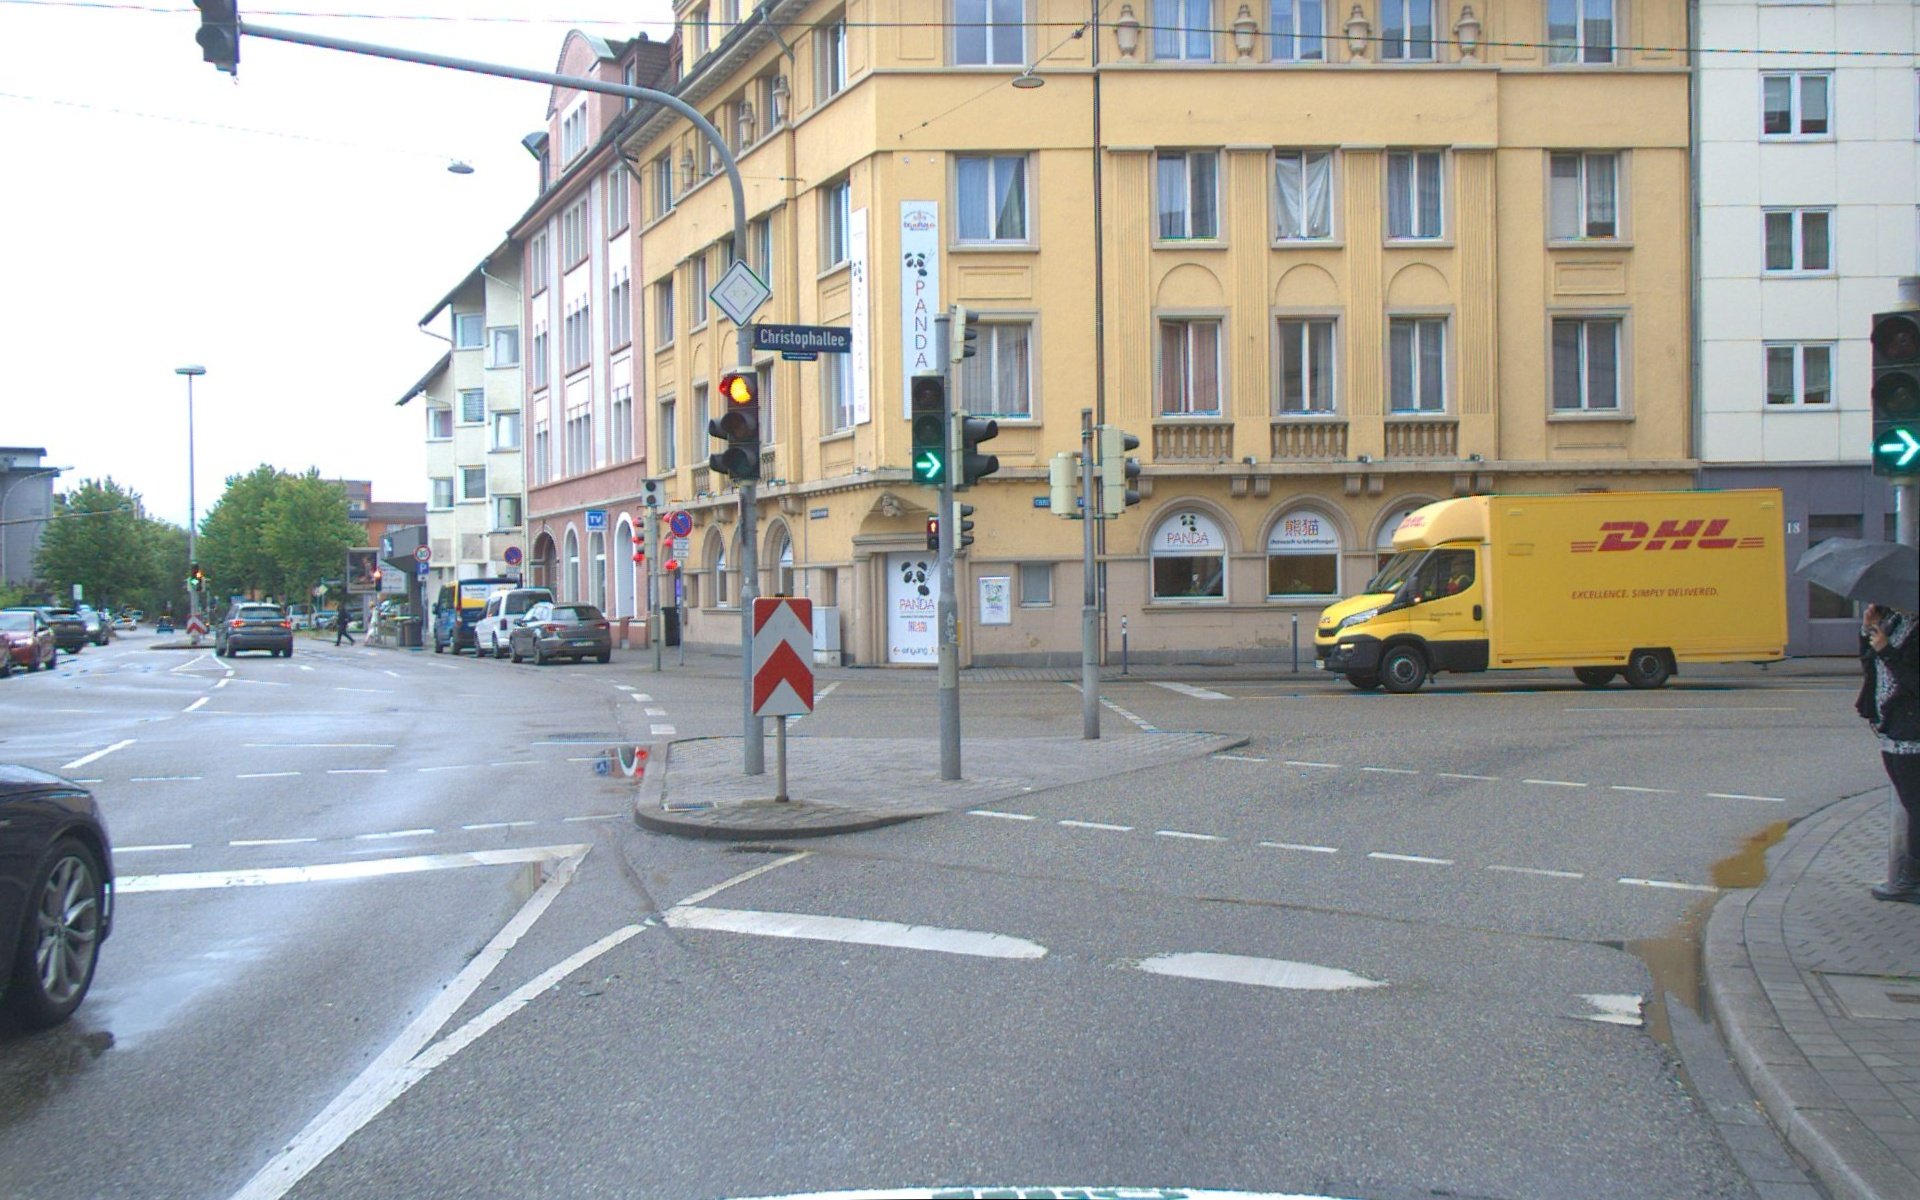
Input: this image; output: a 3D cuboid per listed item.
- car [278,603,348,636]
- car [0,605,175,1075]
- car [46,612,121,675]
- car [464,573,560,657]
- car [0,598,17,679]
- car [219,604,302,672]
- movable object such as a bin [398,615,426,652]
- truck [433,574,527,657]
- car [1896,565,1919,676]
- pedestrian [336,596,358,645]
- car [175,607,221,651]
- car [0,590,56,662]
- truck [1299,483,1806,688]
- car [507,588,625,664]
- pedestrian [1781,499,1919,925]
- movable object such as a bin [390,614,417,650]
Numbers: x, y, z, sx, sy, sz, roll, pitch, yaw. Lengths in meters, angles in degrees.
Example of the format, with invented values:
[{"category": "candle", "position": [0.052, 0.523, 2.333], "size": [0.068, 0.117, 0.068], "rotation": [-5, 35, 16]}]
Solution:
[{"category": "car", "position": [-43.462, 1.320, 111.068], "size": [3.960, 2.049, 1.973], "rotation": [2, -1, -39]}, {"category": "car", "position": [-3.706, 0.724, 4.007], "size": [1.768, 1.430, 4.678], "rotation": [0, 0, -6]}, {"category": "car", "position": [-30.615, 1.483, 57.851], "size": [1.967, 2.049, 3.971], "rotation": [-1, 0, -24]}, {"category": "car", "position": [-12.438, 0.379, 45.788], "size": [1.742, 2.218, 3.964], "rotation": [0, 0, -28]}, {"category": "car", "position": [-21.349, 0.799, 35.134], "size": [1.820, 1.713, 3.970], "rotation": [2, -1, -24]}, {"category": "car", "position": [-20.061, 1.041, 47.338], "size": [1.969, 1.847, 3.966], "rotation": [0, 0, -26]}, {"category": "movable object such as a bin", "position": [-19.772, 1.194, 59.674], "size": [0.739, 1.253, 0.975], "rotation": [4, -2, -27]}, {"category": "truck", "position": [-14.845, 0.435, 51.047], "size": [2.003, 2.431, 4.198], "rotation": [0, 0, -28]}, {"category": "car", "position": [17.153, 0.291, 25.193], "size": [4.715, 1.714, 1.999], "rotation": [-1, 0, -3]}, {"category": "pedestrian", "position": [-25.344, 0.842, 68.386], "size": [0.714, 1.971, 0.785], "rotation": [0, 0, -29]}, {"category": "car", "position": [-37.905, 1.409, 82.273], "size": [1.969, 2.049, 3.966], "rotation": [-1, 0, -26]}, {"category": "car", "position": [-23.148, 0.605, 40.217], "size": [1.740, 1.663, 3.598], "rotation": [0, 0, -24]}, {"category": "truck", "position": [8.843, -0.221, 25.042], "size": [6.950, 2.901, 2.081], "rotation": [-1, 0, -3]}, {"category": "car", "position": [-9.499, 0.607, 39.648], "size": [1.856, 1.665, 3.965], "rotation": [-2, 0, -27]}, {"category": "pedestrian", "position": [4.573, 0.502, 7.971], "size": [1.036, 1.937, 1.024], "rotation": [0, 0, 23]}, {"category": "movable object such as a bin", "position": [-20.576, 1.175, 61.184], "size": [0.739, 1.253, 0.975], "rotation": [4, -2, -27]}]
